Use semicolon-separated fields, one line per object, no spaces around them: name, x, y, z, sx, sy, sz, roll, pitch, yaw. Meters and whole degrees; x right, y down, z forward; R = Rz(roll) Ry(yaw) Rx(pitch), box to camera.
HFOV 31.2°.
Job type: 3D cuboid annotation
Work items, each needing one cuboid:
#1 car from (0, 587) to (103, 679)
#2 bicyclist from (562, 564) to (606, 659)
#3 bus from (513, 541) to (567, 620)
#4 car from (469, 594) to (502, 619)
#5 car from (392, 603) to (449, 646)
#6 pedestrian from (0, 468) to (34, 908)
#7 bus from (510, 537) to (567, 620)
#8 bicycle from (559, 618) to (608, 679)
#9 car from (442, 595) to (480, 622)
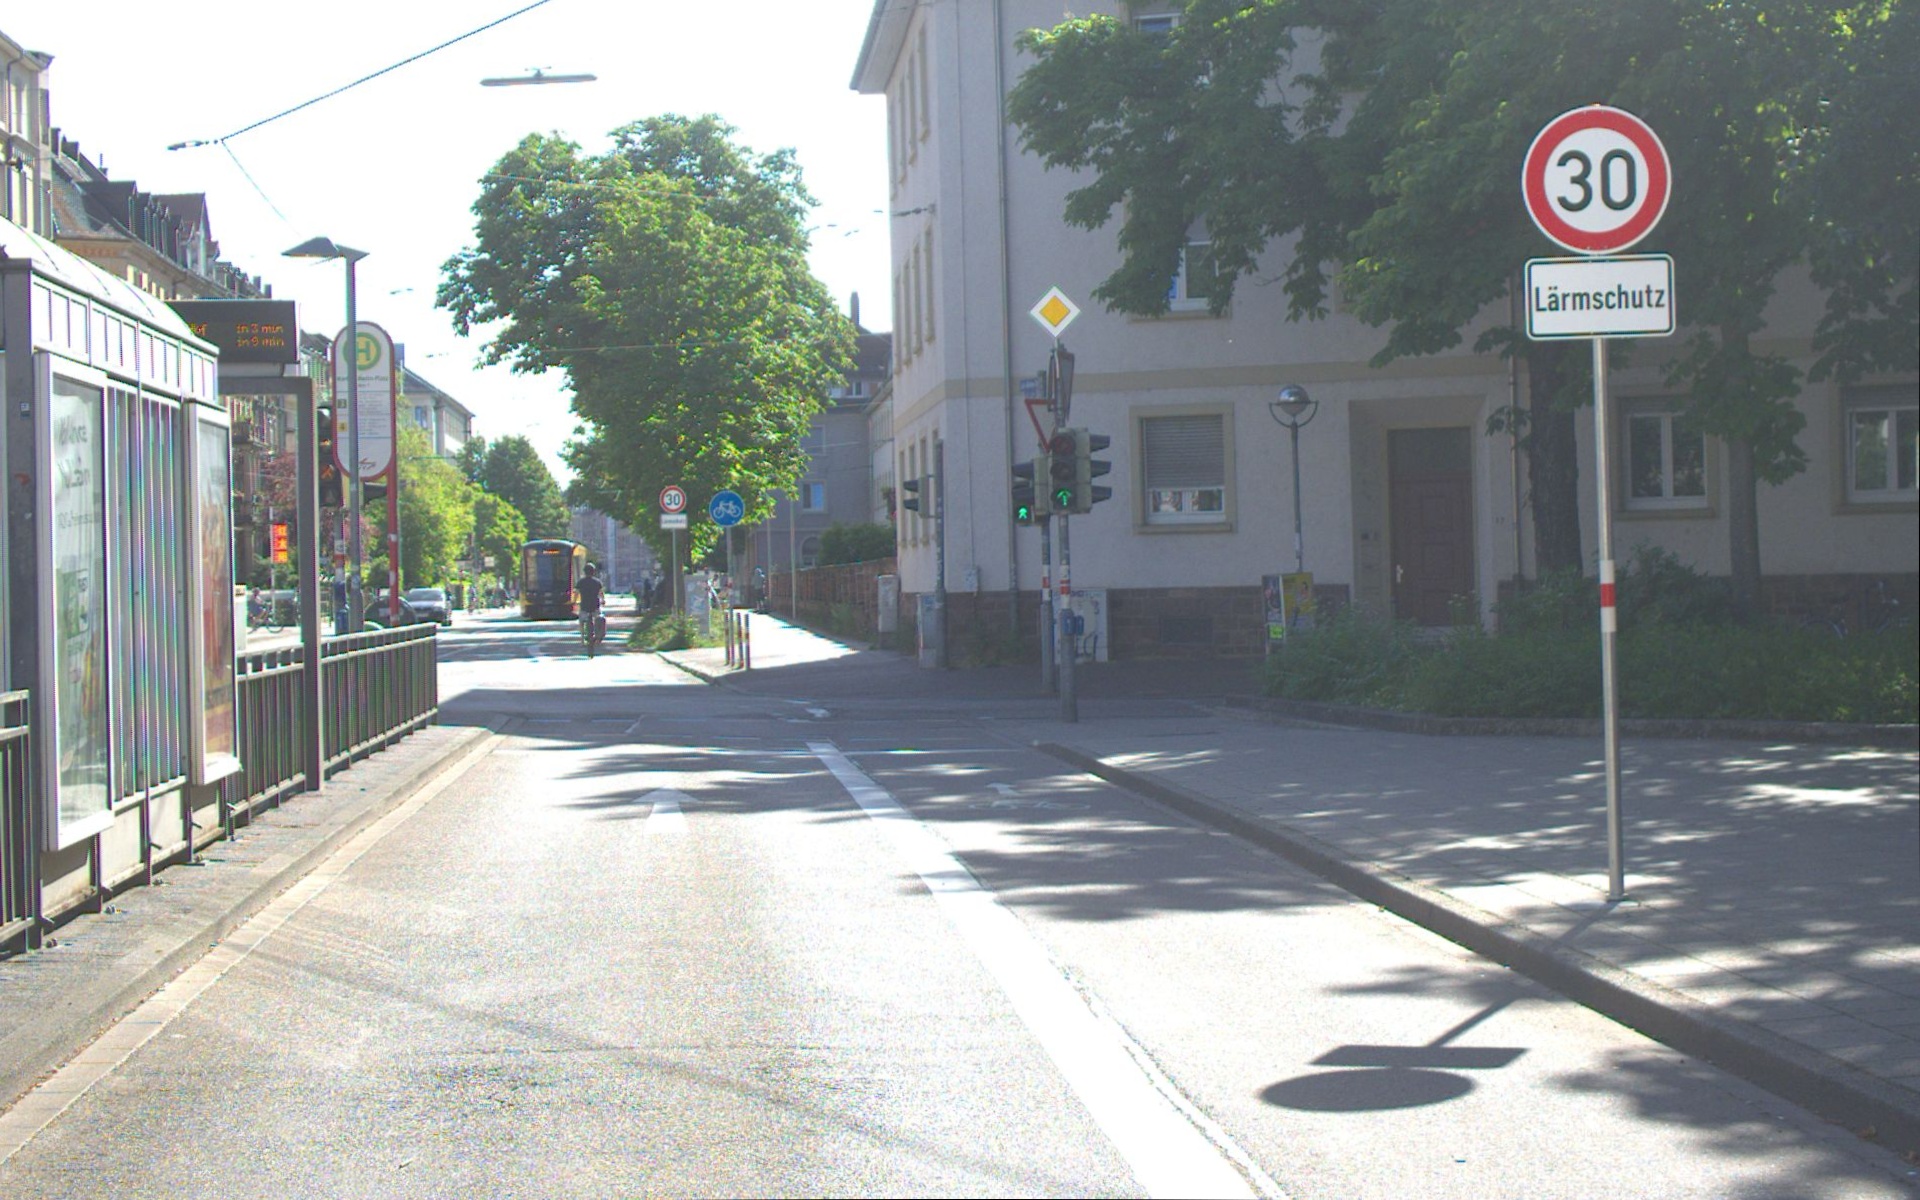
car;-16.620;0.593;61.810;1.775;1.612;4.000;0;-1;-6
bicyclist;-7.213;0.226;66.014;0.817;1.805;1.059;0;-1;-4
bus;-19.104;-0.843;156.586;2.385;3.485;7.385;0;-1;-7
car;-31.433;0.444;227.865;1.993;1.590;4.000;0;-1;-5
car;-20.186;0.909;128.704;1.993;1.590;4.001;0;-1;-7
pedestrian;-4.795;0.403;16.005;0.795;2.007;0.740;0;-1;-4
bus;-18.262;-0.895;149.235;2.385;3.485;7.385;0;-1;-7
bicycle;-7.216;0.921;66.025;0.842;1.152;2.539;0;-1;-4
car;-29.724;0.525;204.976;1.993;1.590;4.000;0;-1;-5
